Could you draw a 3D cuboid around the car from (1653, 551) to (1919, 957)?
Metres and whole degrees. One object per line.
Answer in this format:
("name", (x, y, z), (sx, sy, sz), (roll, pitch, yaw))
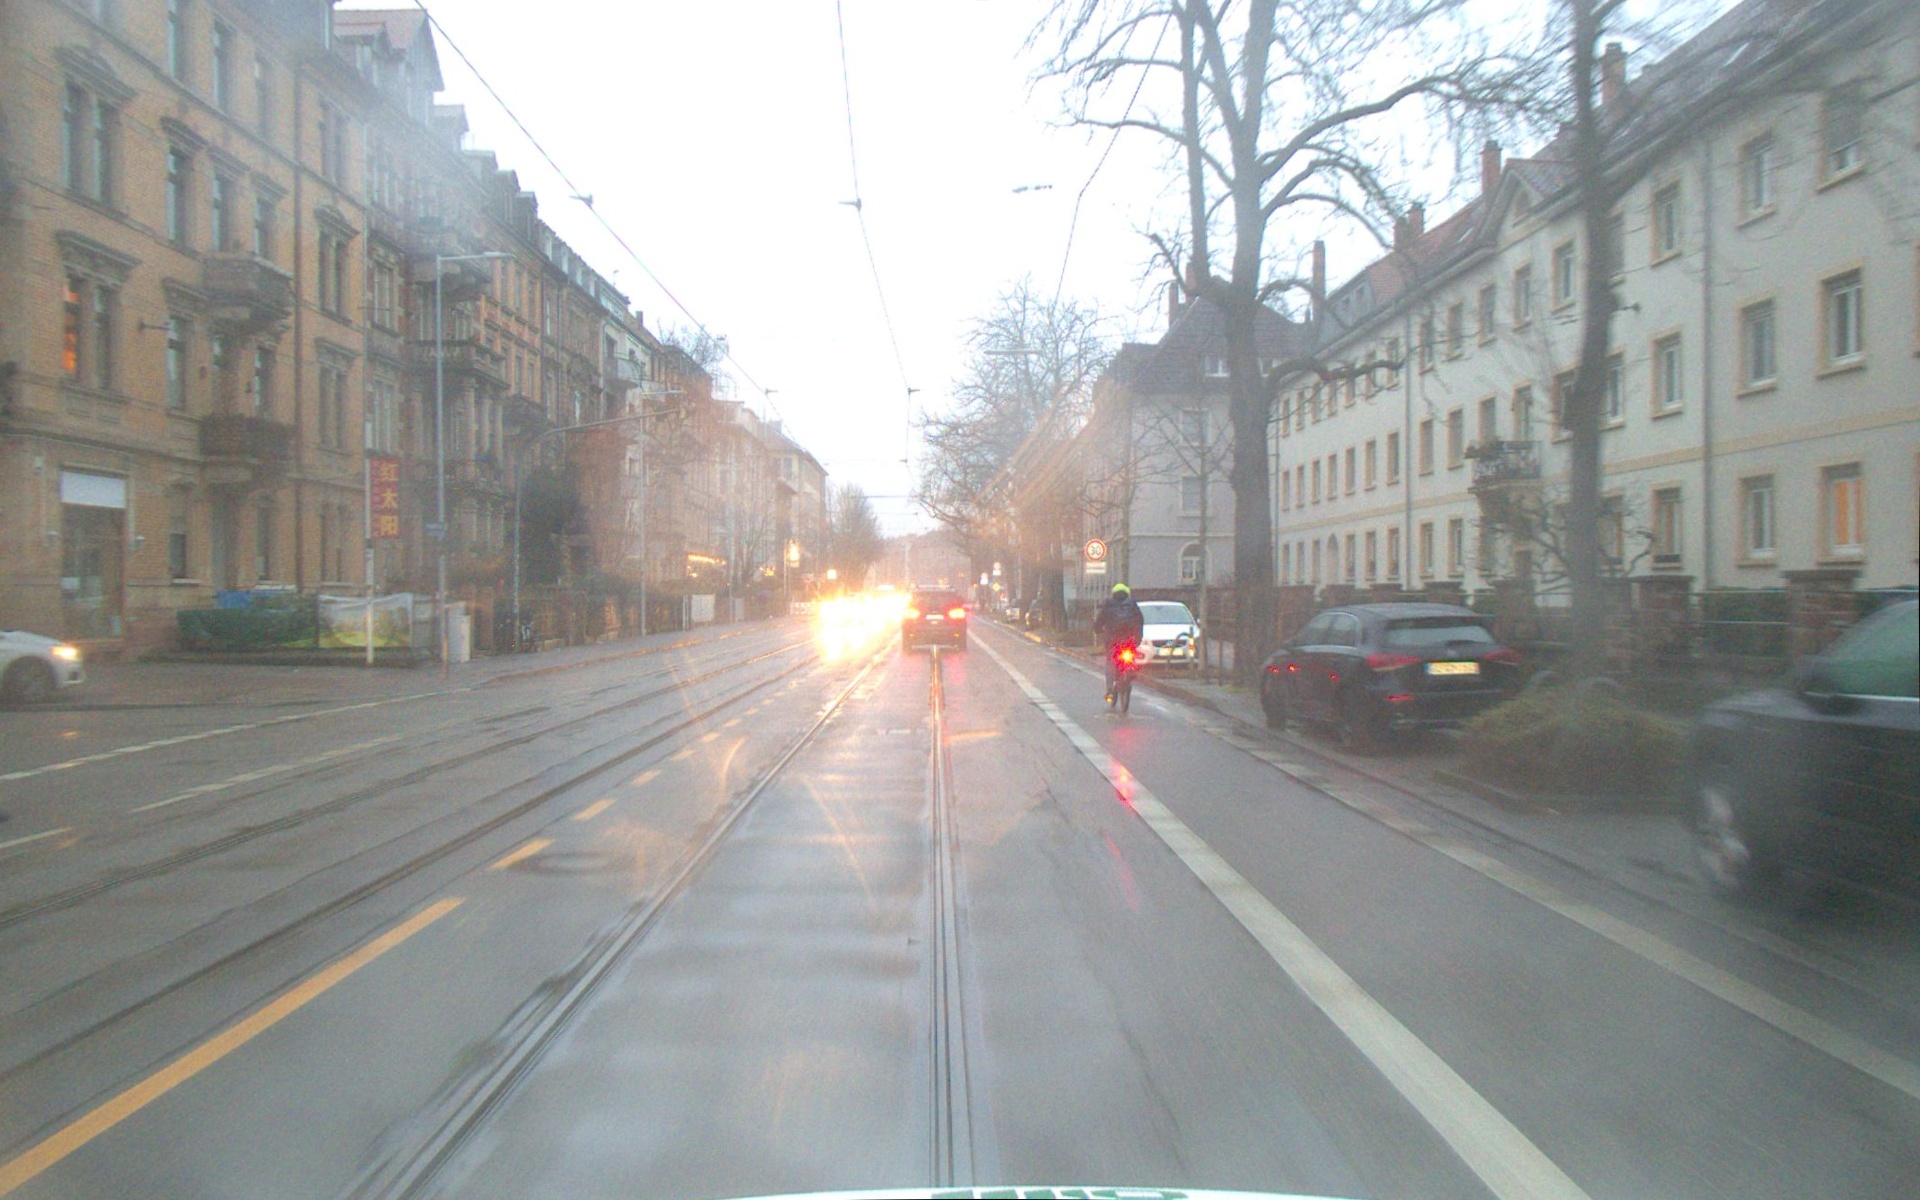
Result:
("car", (4.805, 0.620, 7.005), (1.866, 1.638, 4.561), (0, 0, 0))

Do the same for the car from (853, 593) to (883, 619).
("car", (-6.312, 0.399, 113.764), (1.884, 1.691, 3.999), (0, 0, -1))

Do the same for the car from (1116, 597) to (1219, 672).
("car", (4.461, 0.698, 36.039), (1.749, 1.536, 4.108), (0, 0, 0))

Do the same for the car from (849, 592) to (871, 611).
("car", (-9.249, 0.161, 153.808), (1.884, 1.750, 3.999), (0, 0, -1))

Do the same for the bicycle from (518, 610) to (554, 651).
("bicycle", (-11.073, 0.780, 43.239), (0.486, 1.024, 1.764), (0, 0, 0))

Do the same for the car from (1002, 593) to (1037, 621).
("car", (3.292, 0.391, 91.948), (1.749, 1.536, 4.108), (0, 0, -1))

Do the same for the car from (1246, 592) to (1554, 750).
("car", (4.580, 0.666, 17.947), (1.842, 1.444, 4.339), (-2, 0, -5))

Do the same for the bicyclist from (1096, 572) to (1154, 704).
("bicyclist", (2.234, 0.505, 22.466), (0.715, 1.767, 0.765), (0, 0, 0))

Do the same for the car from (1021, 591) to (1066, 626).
("car", (3.705, 0.356, 73.929), (1.749, 1.536, 4.108), (0, 0, -1))

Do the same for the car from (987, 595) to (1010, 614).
("car", (3.162, 0.372, 137.349), (1.749, 1.536, 4.108), (0, 0, -1))

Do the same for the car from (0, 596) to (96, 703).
("car", (-15.236, 0.724, 24.455), (4.130, 1.552, 1.973), (0, 0, -38))

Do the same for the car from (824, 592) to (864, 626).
("car", (-6.041, 0.449, 86.268), (1.884, 1.691, 3.999), (0, 0, -1))

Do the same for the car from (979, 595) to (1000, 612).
("car", (2.684, 0.330, 150.986), (1.749, 1.536, 4.108), (0, 0, -1))

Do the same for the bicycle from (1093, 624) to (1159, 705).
("bicycle", (2.235, 0.855, 22.406), (0.716, 1.024, 1.764), (0, 0, 0))

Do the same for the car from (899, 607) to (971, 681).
("car", (-0.665, 1.209, 47.229), (1.764, 1.903, 4.019), (3, 0, 2))

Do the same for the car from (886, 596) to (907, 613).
("car", (-6.130, 0.417, 159.747), (1.884, 1.691, 3.999), (0, 0, -1))
